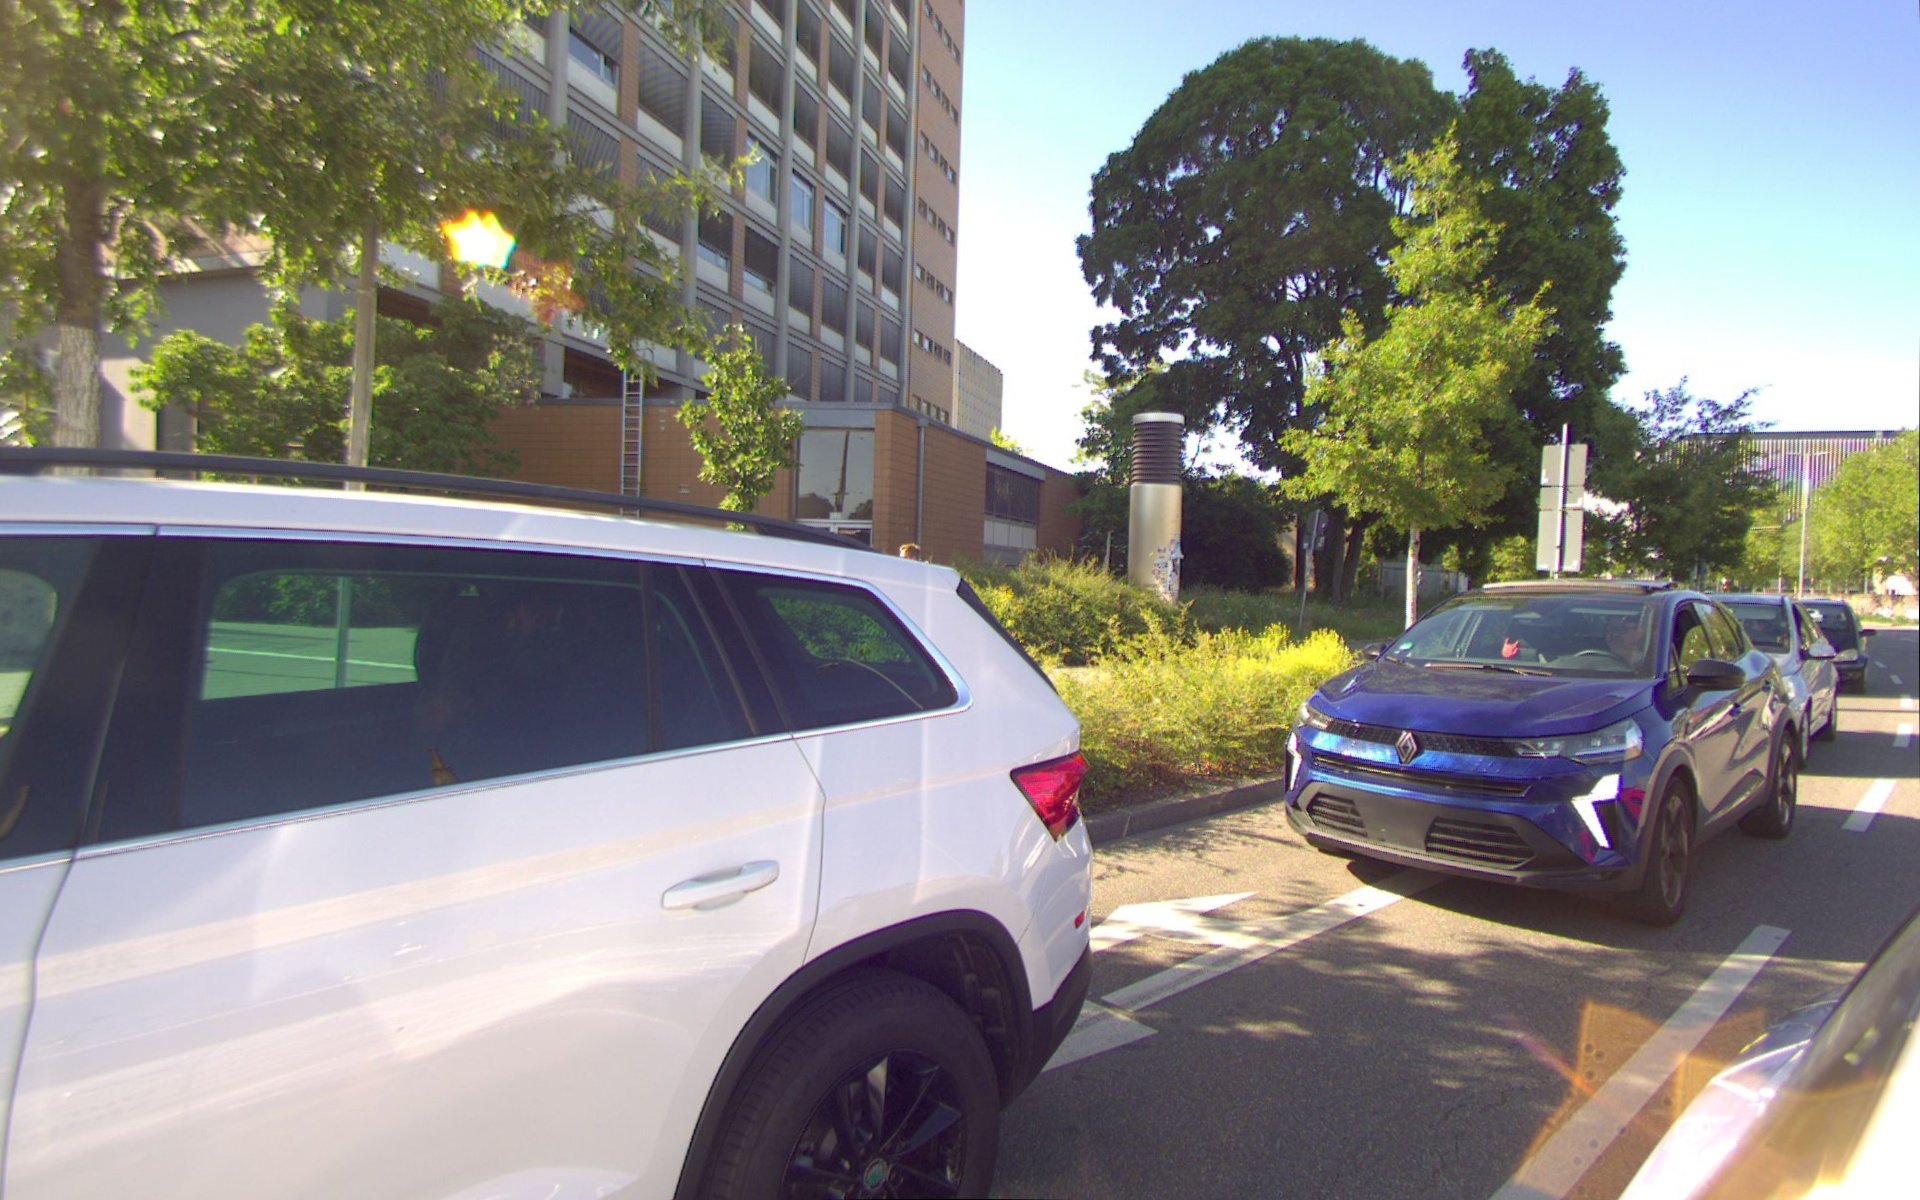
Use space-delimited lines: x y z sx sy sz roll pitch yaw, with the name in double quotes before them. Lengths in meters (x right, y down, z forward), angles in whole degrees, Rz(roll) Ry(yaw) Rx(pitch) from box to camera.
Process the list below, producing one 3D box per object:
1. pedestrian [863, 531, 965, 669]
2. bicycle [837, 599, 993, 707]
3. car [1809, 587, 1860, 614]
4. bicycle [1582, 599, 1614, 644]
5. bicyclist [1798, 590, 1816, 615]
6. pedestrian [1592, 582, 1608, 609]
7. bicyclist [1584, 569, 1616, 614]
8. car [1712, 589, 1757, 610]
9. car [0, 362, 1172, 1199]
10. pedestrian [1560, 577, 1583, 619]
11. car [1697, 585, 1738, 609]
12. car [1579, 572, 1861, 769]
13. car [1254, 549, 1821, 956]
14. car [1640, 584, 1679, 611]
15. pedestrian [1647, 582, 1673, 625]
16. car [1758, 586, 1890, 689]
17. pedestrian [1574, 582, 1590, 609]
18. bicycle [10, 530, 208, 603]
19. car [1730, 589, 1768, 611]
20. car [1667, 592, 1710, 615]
"pedestrian" -0.491 -0.012 10.966 0.945 1.419 0.517 0 3 -43
"bicycle" -0.457 0.538 10.996 1.738 1.057 0.517 0 4 -43
"car" 55.851 0.024 64.709 1.509 1.700 3.353 1 0 24
"bicycle" 19.217 0.623 30.499 0.687 1.232 1.814 4 3 31
"bicyclist" 52.179 0.151 62.347 0.688 1.578 0.809 0 0 25
"pedestrian" 46.350 -0.341 73.276 0.811 1.941 0.767 0 0 20
"bicyclist" 19.240 -0.262 30.445 0.717 1.294 0.897 4 3 31
"car" 52.370 -0.060 68.483 1.736 1.396 3.540 1 1 27
"car" -1.628 0.552 1.666 4.223 1.662 1.697 0 2 -42
"pedestrian" 24.066 -0.087 39.849 0.687 1.624 0.654 2 1 30
"car" 64.961 -0.273 86.836 1.767 2.039 4.201 1 1 22
"car" 8.101 0.584 10.647 3.977 1.644 1.782 0 2 -45
"car" 3.621 0.597 6.014 4.013 1.626 1.704 0 1 -41
"car" 51.286 -0.178 74.254 1.811 1.876 3.717 2 1 27
"pedestrian" 27.144 0.118 39.243 0.685 1.624 0.656 2 1 24
"car" 15.743 0.609 18.390 1.646 1.631 3.435 3 2 43
"pedestrian" 45.479 -0.347 73.981 0.811 1.941 0.767 0 0 20
"bicycle" -17.549 -0.668 21.013 0.790 1.394 3.111 2 1 26
"car" 61.884 -0.010 79.398 1.578 1.625 3.048 2 1 23
"car" 48.529 0.192 67.469 1.735 1.494 3.542 0 1 26
